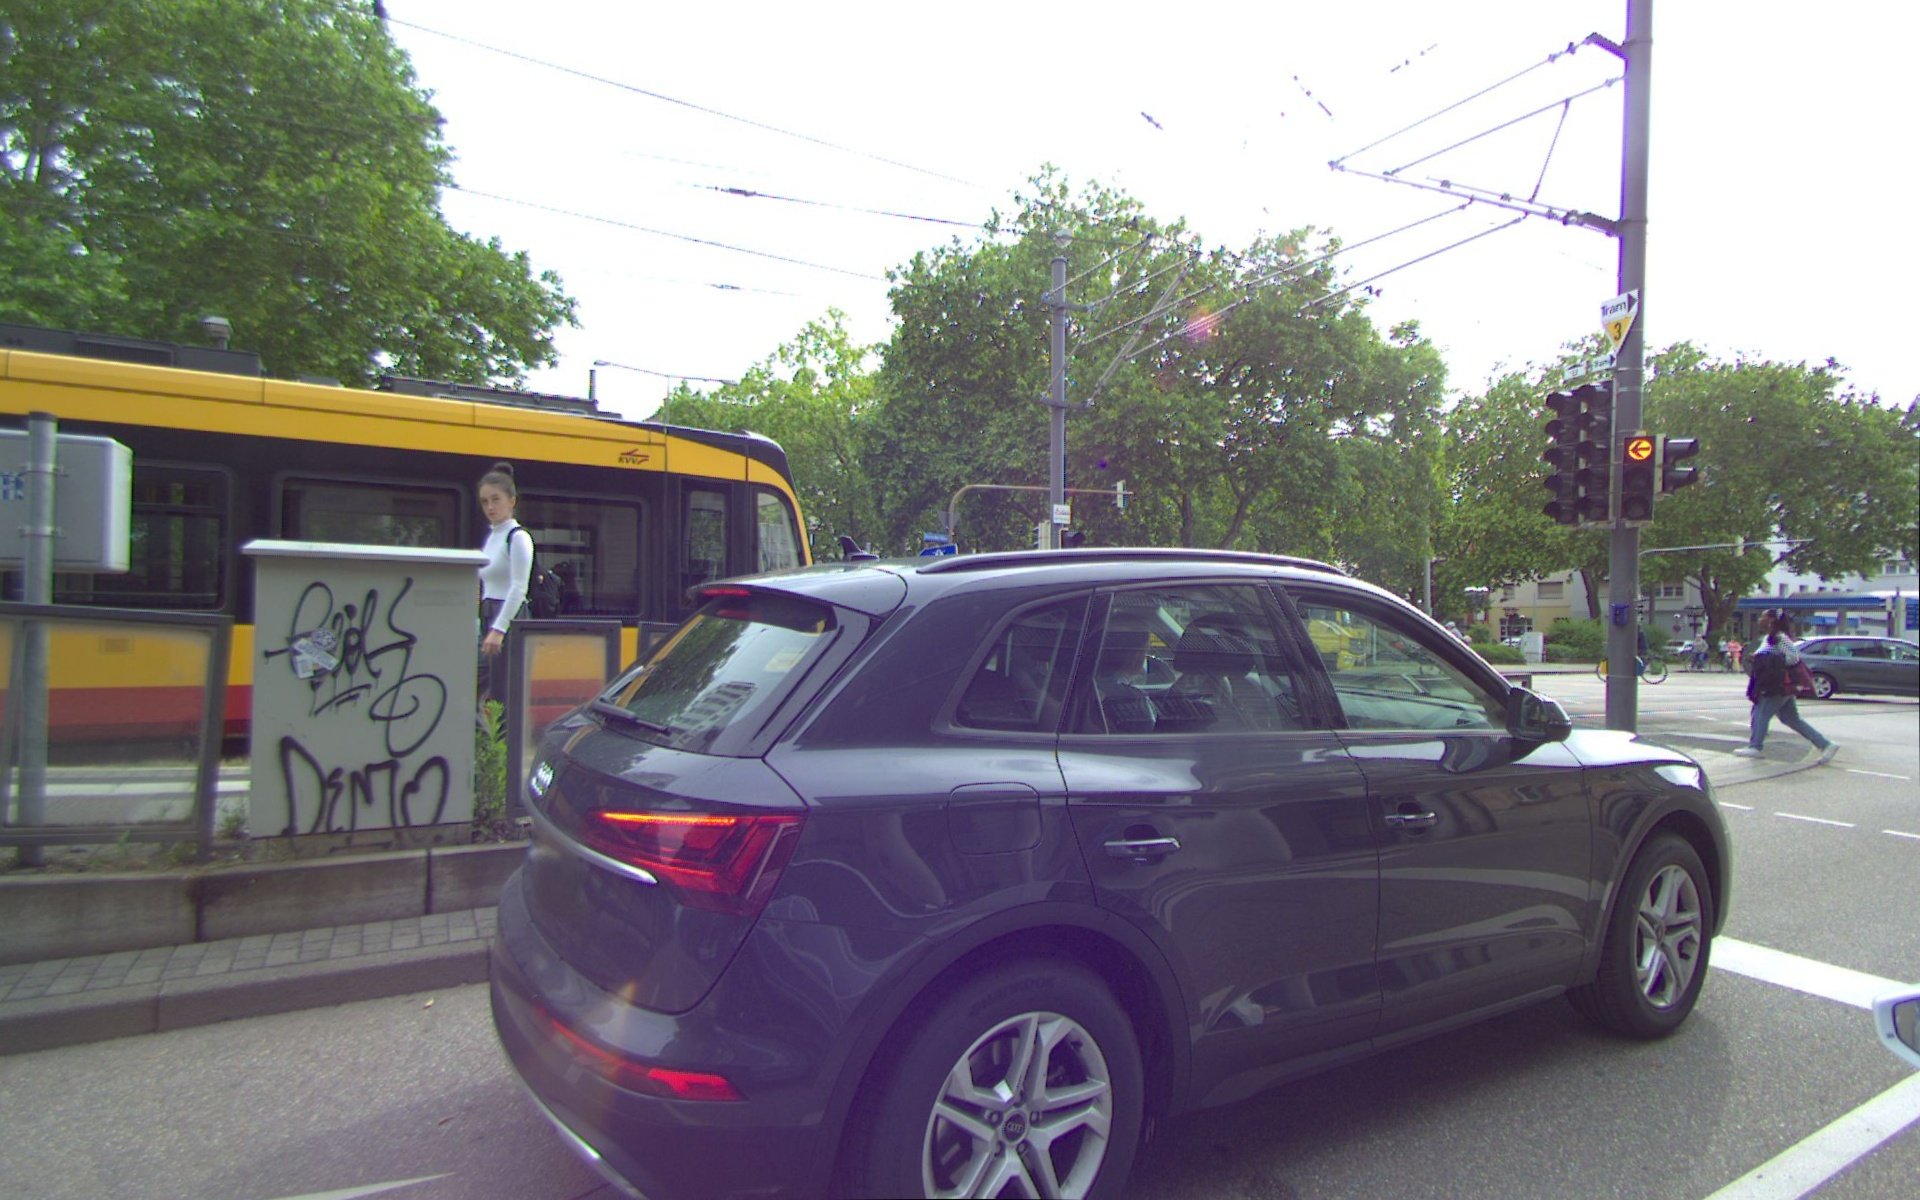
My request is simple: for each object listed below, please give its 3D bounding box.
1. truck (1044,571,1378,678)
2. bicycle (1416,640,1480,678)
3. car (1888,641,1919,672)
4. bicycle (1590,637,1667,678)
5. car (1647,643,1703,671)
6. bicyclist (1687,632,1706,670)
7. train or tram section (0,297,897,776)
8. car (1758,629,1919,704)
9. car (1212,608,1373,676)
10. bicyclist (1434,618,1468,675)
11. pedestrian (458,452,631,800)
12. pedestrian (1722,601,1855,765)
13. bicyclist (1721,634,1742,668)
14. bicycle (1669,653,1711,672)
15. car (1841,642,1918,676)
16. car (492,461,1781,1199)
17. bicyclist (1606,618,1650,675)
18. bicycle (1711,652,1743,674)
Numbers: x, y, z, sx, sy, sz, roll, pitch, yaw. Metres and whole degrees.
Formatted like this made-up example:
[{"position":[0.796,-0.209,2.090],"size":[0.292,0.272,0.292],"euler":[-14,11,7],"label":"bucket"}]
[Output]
[{"position":[7.708,0.633,32.004],"size":[10.010,2.980,2.629],"euler":[1,0,35],"label":"truck"},{"position":[16.441,1.959,33.844],"size":[1.873,1.158,0.627],"euler":[2,0,32],"label":"bicycle"},{"position":[52.769,3.101,54.948],"size":[3.792,1.578,1.885],"euler":[2,0,-30],"label":"car"},{"position":[20.750,1.776,31.193],"size":[1.914,1.151,0.732],"euler":[2,0,40],"label":"bicycle"},{"position":[45.204,3.580,63.514],"size":[3.802,1.578,1.879],"euler":[2,0,-38],"label":"car"},{"position":[35.903,2.467,48.964],"size":[0.461,1.808,0.534],"euler":[2,0,-10],"label":"bicyclist"},{"position":[-8.258,-0.502,8.836],"size":[15.665,3.636,3.045],"euler":[2,0,-31],"label":"train or tram section"},{"position":[20.497,1.468,22.426],"size":[3.921,1.489,1.838],"euler":[2,0,30],"label":"car"},{"position":[11.255,1.372,34.126],"size":[4.798,1.993,1.983],"euler":[2,0,35],"label":"car"},{"position":[16.532,1.554,33.823],"size":[0.951,1.843,0.531],"euler":[2,0,32],"label":"bicyclist"},{"position":[-2.233,0.132,5.368],"size":[0.722,1.683,0.750],"euler":[2,0,-30],"label":"pedestrian"},{"position":[9.034,0.878,10.985],"size":[0.851,1.702,0.673],"euler":[2,0,9],"label":"pedestrian"},{"position":[37.233,2.454,48.448],"size":[0.611,1.588,0.585],"euler":[2,0,-30],"label":"bicyclist"},{"position":[35.766,3.047,49.207],"size":[0.644,0.783,1.682],"euler":[2,0,-9],"label":"bicycle"},{"position":[47.354,3.022,51.702],"size":[3.792,1.578,1.885],"euler":[2,0,-30],"label":"car"},{"position":[0.827,0.653,3.544],"size":[4.308,1.622,1.870],"euler":[2,-1,-31],"label":"car"},{"position":[20.738,1.436,31.184],"size":[1.026,1.706,0.641],"euler":[2,0,41],"label":"bicyclist"},{"position":[36.877,3.036,48.276],"size":[1.914,1.031,0.519],"euler":[2,0,-30],"label":"bicycle"}]
